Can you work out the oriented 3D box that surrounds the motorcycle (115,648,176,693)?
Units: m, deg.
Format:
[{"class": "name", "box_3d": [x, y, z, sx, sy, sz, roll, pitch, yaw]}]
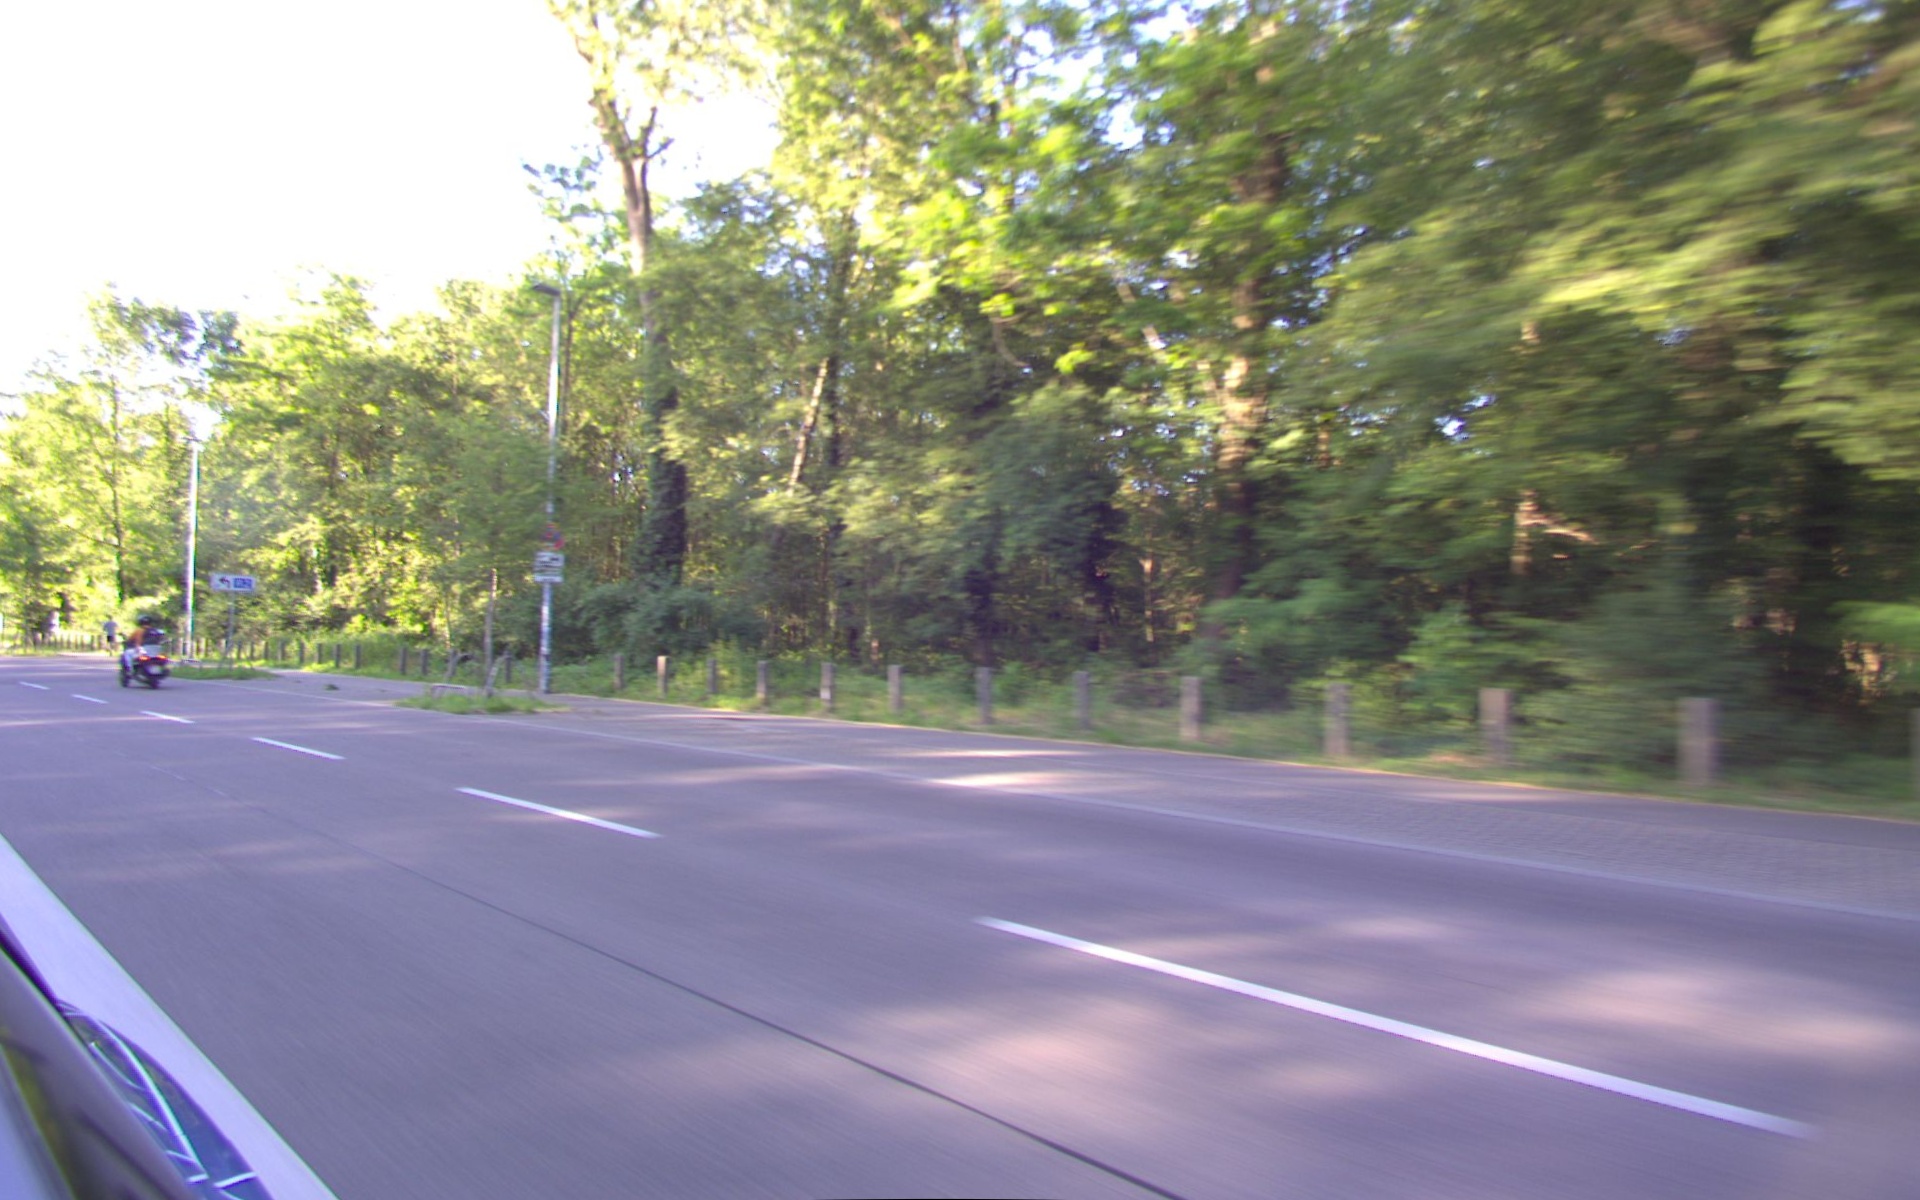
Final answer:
[{"class": "motorcycle", "box_3d": [-18.088, 1.544, 22.464, 2.165, 0.911, 0.662, -1, -2, 40]}]

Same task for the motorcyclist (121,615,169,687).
[{"class": "motorcyclist", "box_3d": [-18.150, 1.122, 22.541, 0.904, 1.552, 0.649, -1, -2, 40]}]

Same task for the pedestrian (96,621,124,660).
[{"class": "pedestrian", "box_3d": [-38.827, 1.862, 46.233, 0.736, 1.781, 0.764, -1, -3, 34]}]
